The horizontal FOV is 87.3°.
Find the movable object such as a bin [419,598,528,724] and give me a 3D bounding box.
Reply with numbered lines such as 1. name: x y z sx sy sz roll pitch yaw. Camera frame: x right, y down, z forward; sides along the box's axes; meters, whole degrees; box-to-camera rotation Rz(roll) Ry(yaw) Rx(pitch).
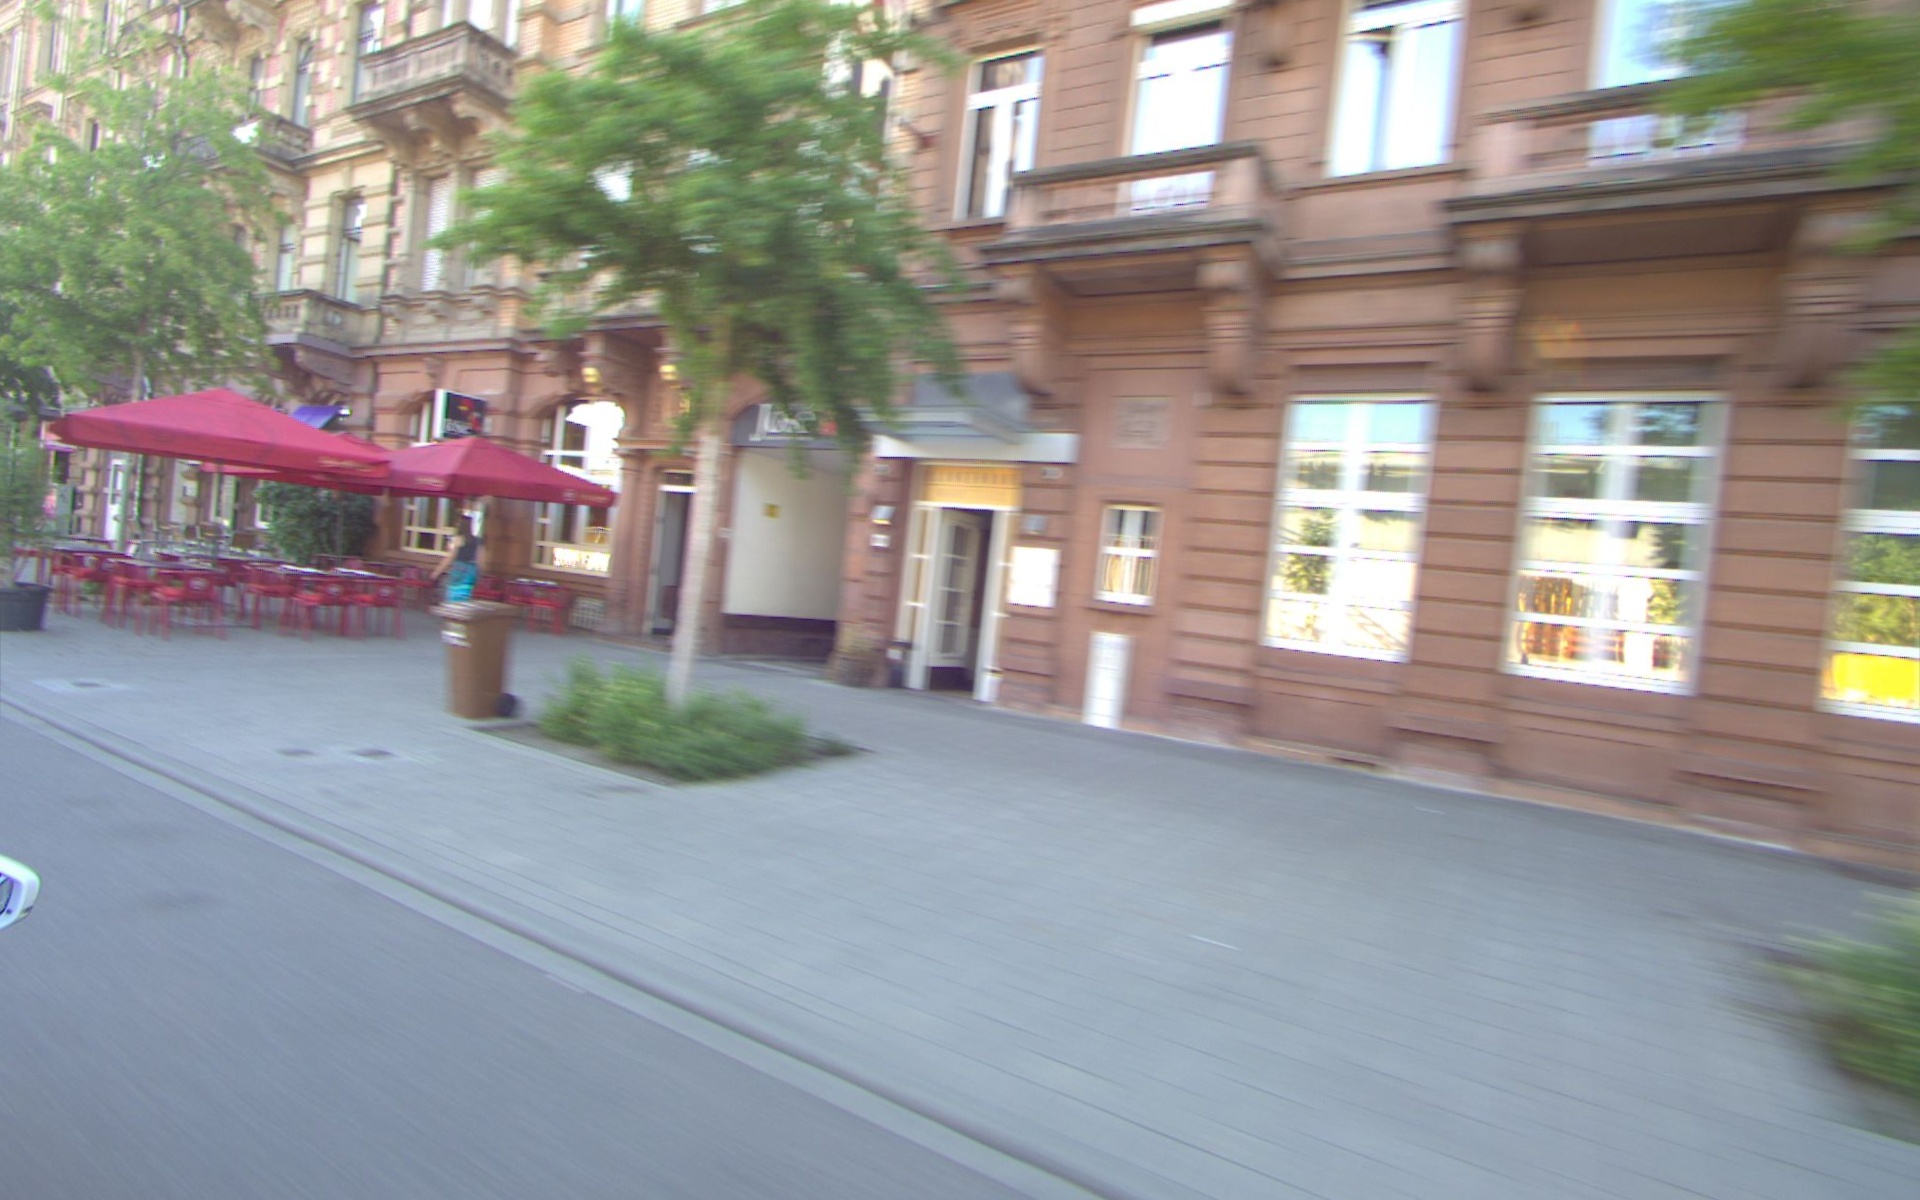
1. movable object such as a bin: -3.970 0.485 8.202 0.671 0.937 0.554 2 3 -38

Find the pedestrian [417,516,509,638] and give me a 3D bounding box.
1. pedestrian: -6.723 -0.303 13.618 0.783 1.555 0.728 7 3 31
